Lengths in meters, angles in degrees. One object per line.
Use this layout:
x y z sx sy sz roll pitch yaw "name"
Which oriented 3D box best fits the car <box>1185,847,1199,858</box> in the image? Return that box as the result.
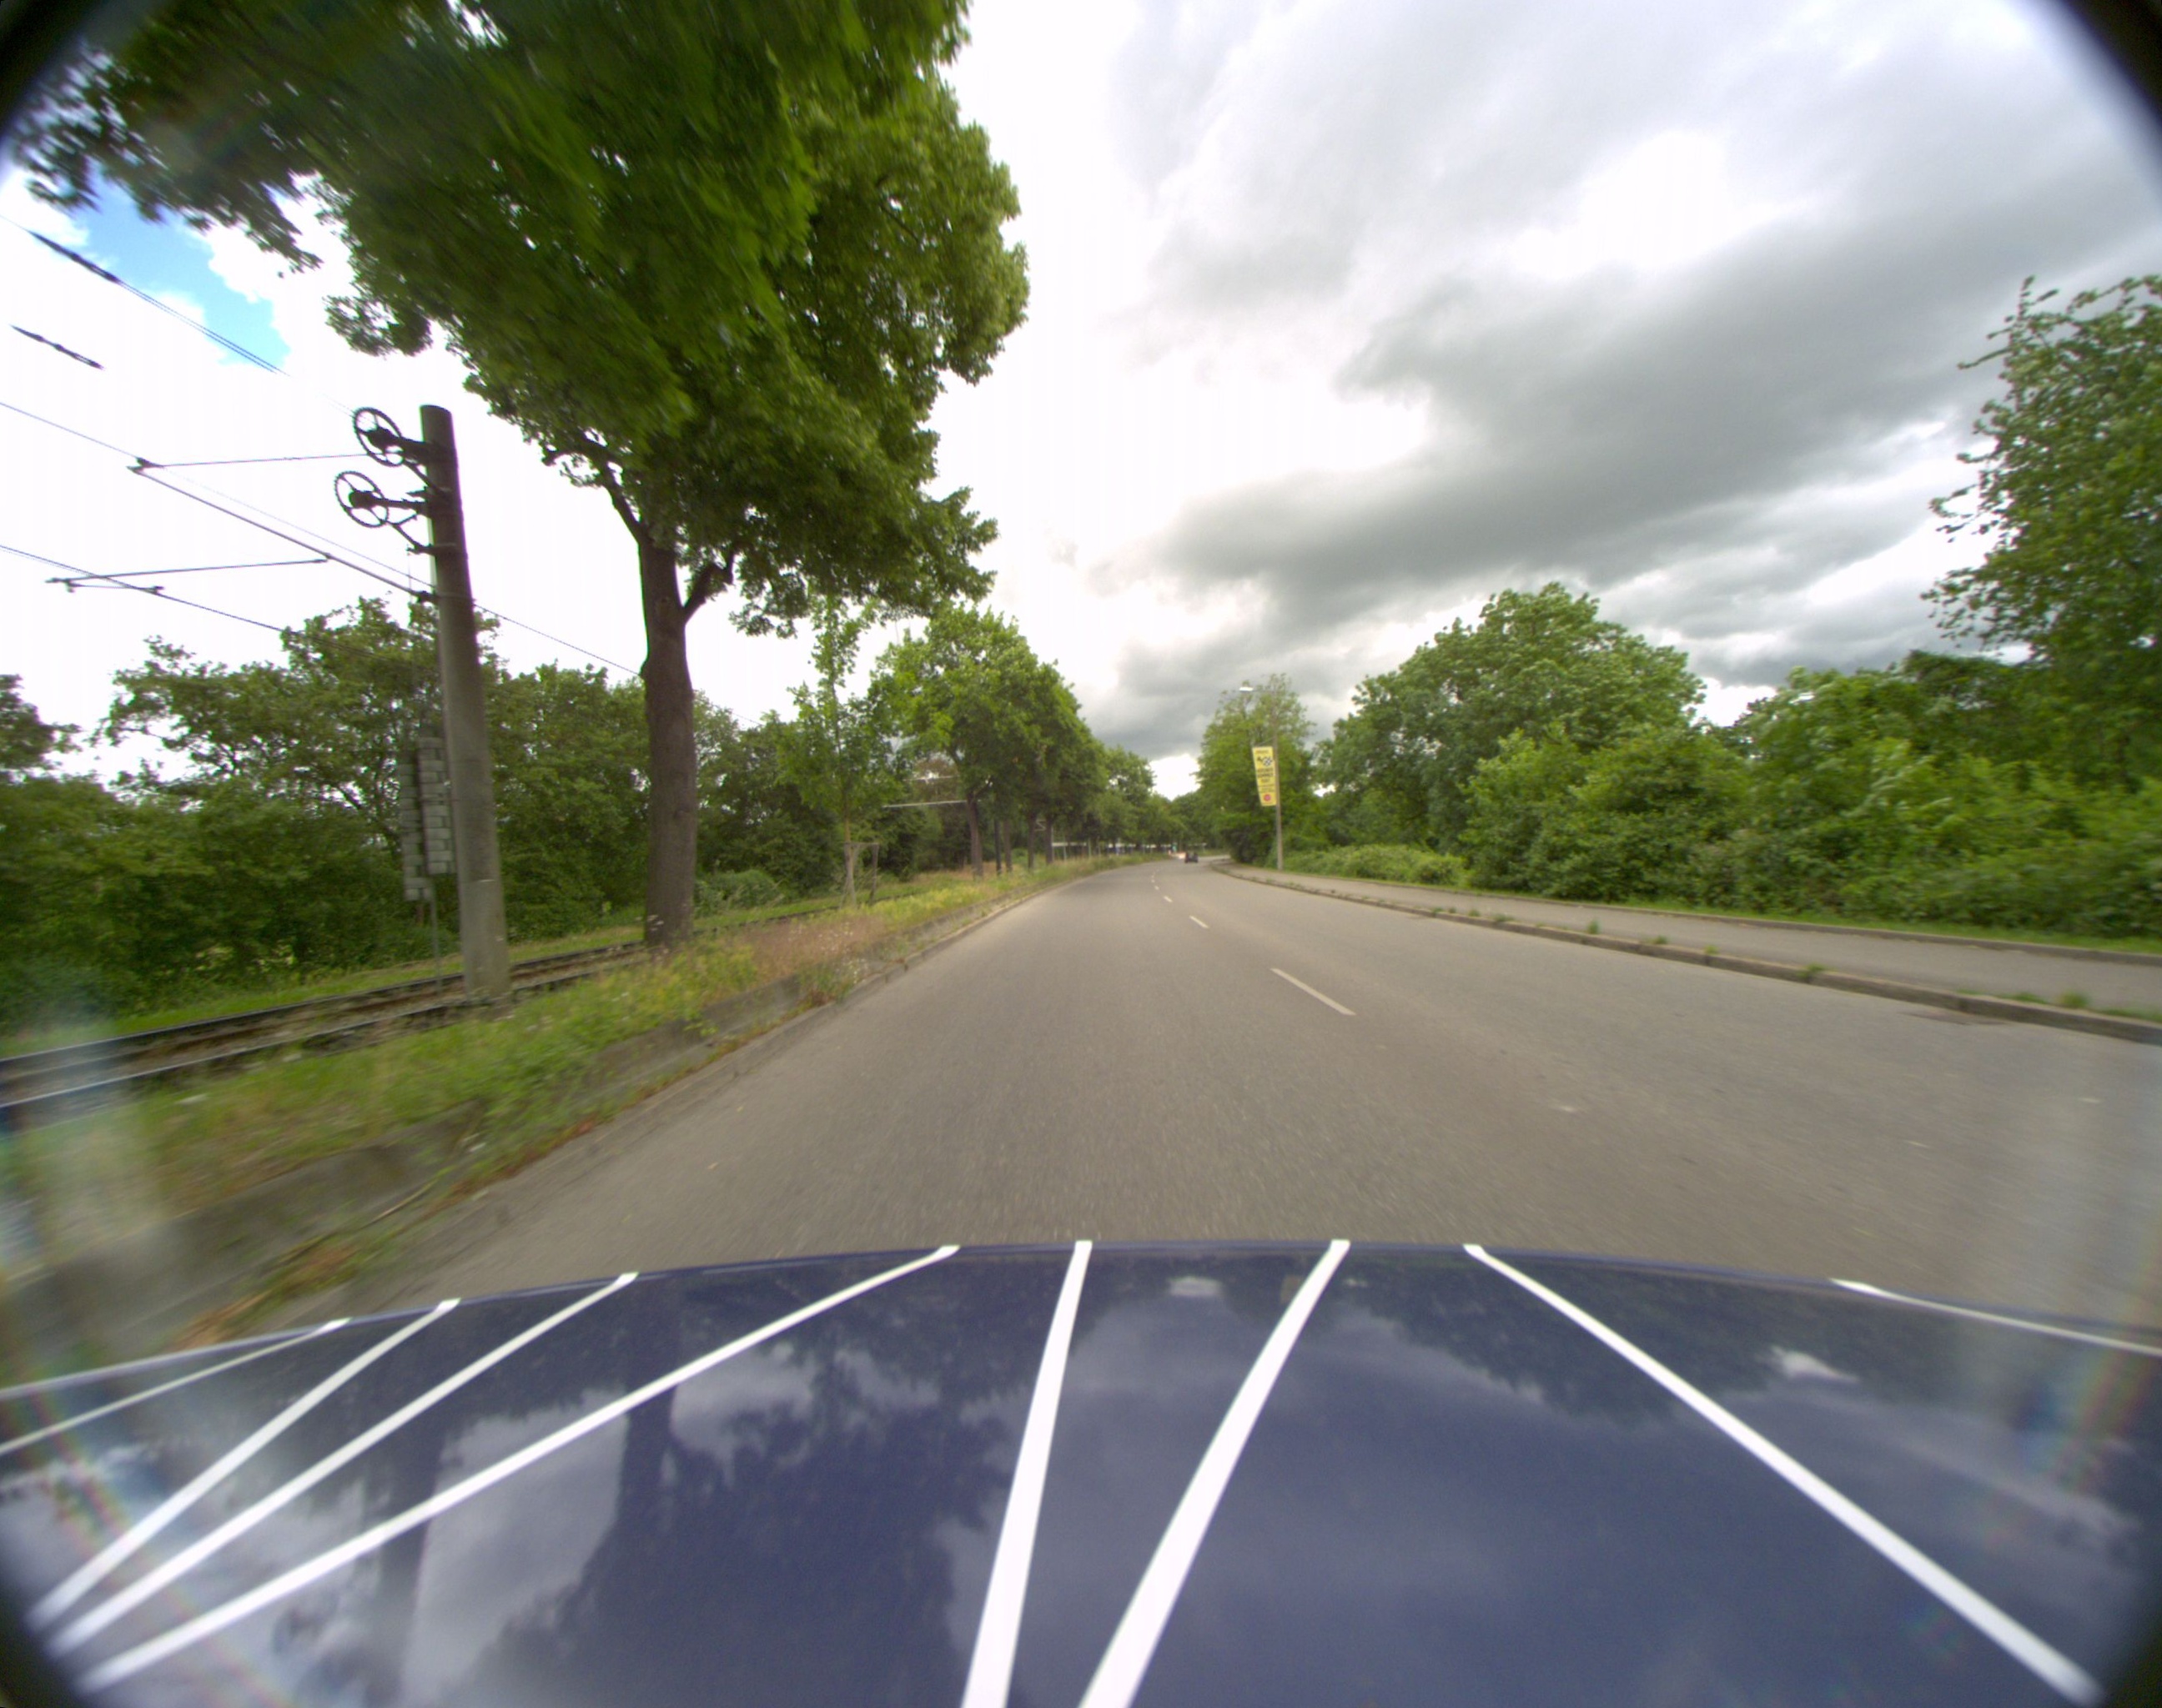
15.138 -0.233 104.019 1.599 1.497 3.029 -2 0 3 "car"
